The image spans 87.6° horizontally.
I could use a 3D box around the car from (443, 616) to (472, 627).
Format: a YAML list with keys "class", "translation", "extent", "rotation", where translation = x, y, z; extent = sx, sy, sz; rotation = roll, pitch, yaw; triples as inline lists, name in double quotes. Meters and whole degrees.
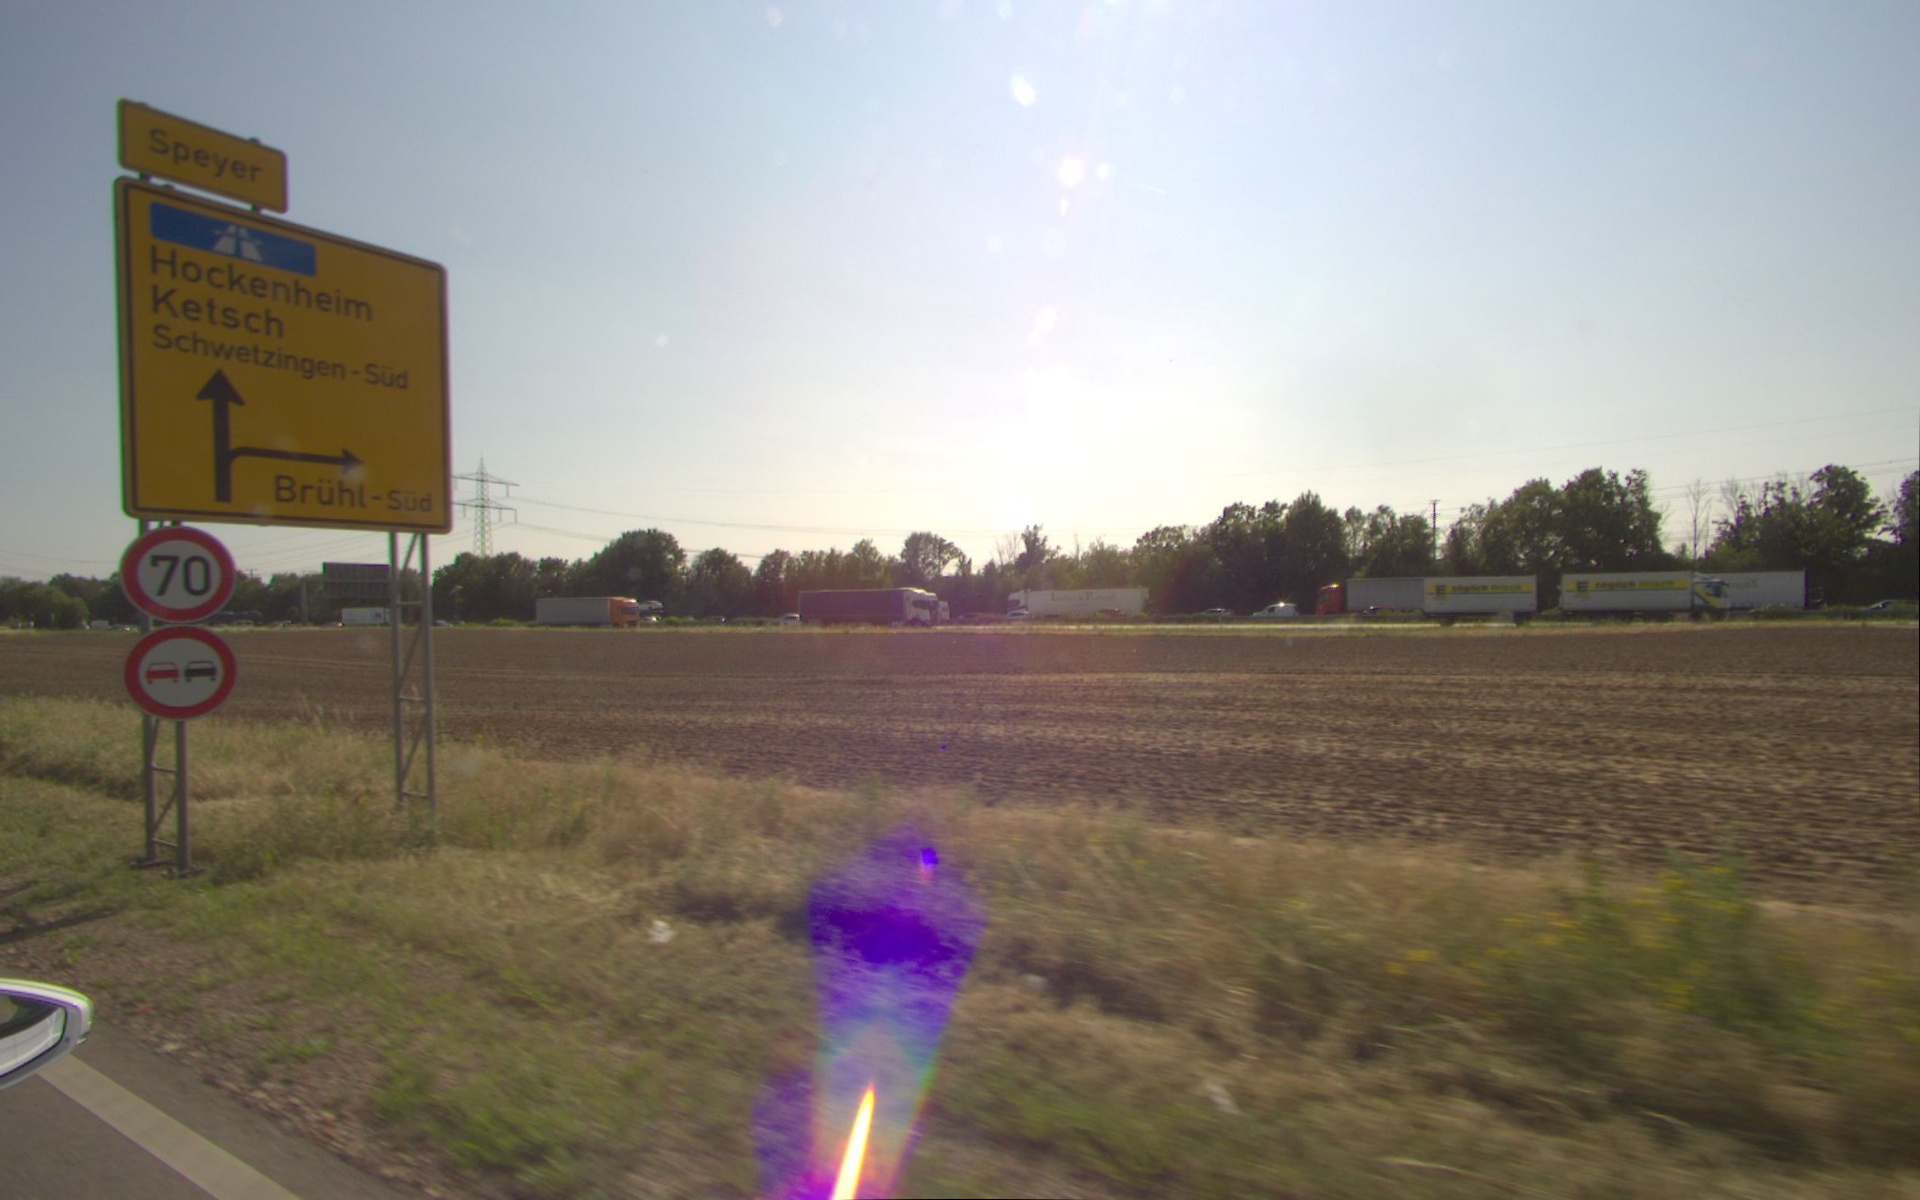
- class: "car"
  translation: [-73.601, 3.182, 146.669]
  extent: [4.411, 1.632, 1.903]
  rotation: [-1, -2, 33]

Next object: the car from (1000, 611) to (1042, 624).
- class: "car"
  translation: [6.612, 1.902, 108.533]
  extent: [4.185, 1.403, 1.848]
  rotation: [0, -1, 31]

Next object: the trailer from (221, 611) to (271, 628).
- class: "trailer"
  translation: [-147.123, 4.015, 206.160]
  extent: [13.252, 3.310, 3.280]
  rotation: [0, 0, 30]

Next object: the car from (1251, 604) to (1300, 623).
- class: "car"
  translation: [29.484, 1.253, 93.596]
  extent: [4.034, 1.659, 1.701]
  rotation: [-1, -2, 31]

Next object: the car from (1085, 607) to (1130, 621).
- class: "car"
  translation: [15.184, 1.449, 103.107]
  extent: [4.185, 1.403, 1.848]
  rotation: [0, -1, 31]

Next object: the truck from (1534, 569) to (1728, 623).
- class: "truck"
  translation: [46.146, -0.166, 69.449]
  extent: [10.957, 3.524, 2.801]
  rotation: [-1, 0, 31]

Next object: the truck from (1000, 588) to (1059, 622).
- class: "truck"
  translation: [7.927, 0.635, 113.909]
  extent: [6.030, 3.782, 3.066]
  rotation: [-1, -1, 32]

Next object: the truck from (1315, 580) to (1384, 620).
- class: "truck"
  translation: [37.413, 0.059, 96.195]
  extent: [5.784, 3.782, 2.941]
  rotation: [-1, -1, 31]

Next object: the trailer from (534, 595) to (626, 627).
- class: "trailer"
  translation: [-48.209, 1.417, 126.749]
  extent: [13.513, 3.899, 3.099]
  rotation: [-1, -1, 30]

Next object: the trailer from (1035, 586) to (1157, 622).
- class: "trailer"
  translation: [14.746, 0.510, 109.561]
  extent: [13.175, 3.782, 3.066]
  rotation: [-1, -1, 33]

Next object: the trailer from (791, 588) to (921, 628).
- class: "trailer"
  translation: [-10.922, 0.757, 104.101]
  extent: [14.371, 3.852, 3.068]
  rotation: [1, 0, 30]

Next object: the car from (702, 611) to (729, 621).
- class: "car"
  translation: [-31.908, 2.088, 130.714]
  extent: [3.530, 1.166, 1.392]
  rotation: [0, -1, 32]

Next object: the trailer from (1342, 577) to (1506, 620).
- class: "trailer"
  translation: [42.851, -0.041, 92.848]
  extent: [13.582, 3.782, 2.940]
  rotation: [-1, -1, 31]

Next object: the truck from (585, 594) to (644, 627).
- class: "truck"
  translation: [-42.641, 1.334, 123.508]
  extent: [6.847, 3.899, 3.099]
  rotation: [-1, -1, 30]

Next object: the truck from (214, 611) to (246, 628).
- class: "truck"
  translation: [-152.721, 4.056, 209.457]
  extent: [6.332, 3.310, 3.280]
  rotation: [0, 0, 30]

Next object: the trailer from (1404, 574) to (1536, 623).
- class: "trailer"
  translation: [37.846, -0.034, 74.450]
  extent: [8.590, 3.460, 2.788]
  rotation: [-1, 0, 31]

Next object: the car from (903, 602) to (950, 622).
- class: "car"
  translation: [-3.805, 1.402, 113.856]
  extent: [5.161, 2.228, 1.902]
  rotation: [0, -1, 31]

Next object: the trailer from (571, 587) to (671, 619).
- class: "trailer"
  translation: [-50.955, 0.464, 150.047]
  extent: [17.299, 4.511, 3.416]
  rotation: [-1, 0, 29]

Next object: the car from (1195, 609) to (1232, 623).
- class: "car"
  translation: [24.636, 1.552, 97.332]
  extent: [3.242, 1.300, 1.339]
  rotation: [-1, -2, 29]

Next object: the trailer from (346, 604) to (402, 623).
- class: "trailer"
  translation: [-108.171, 2.465, 184.639]
  extent: [12.271, 3.310, 3.279]
  rotation: [-1, 0, 30]

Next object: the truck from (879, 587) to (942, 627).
- class: "truck"
  translation: [-4.967, 0.684, 100.670]
  extent: [5.526, 3.852, 3.068]
  rotation: [1, 0, 30]

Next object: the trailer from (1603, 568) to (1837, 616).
- class: "trailer"
  translation: [61.129, -0.538, 81.365]
  extent: [14.862, 3.578, 3.196]
  rotation: [-1, 1, 31]

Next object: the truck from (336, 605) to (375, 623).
- class: "truck"
  translation: [-113.286, 2.570, 187.602]
  extent: [6.875, 3.310, 3.279]
  rotation: [-1, 0, 30]

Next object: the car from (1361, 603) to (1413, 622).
- class: "car"
  translation: [37.695, 1.121, 88.436]
  extent: [4.034, 1.528, 1.701]
  rotation: [-1, -2, 31]
